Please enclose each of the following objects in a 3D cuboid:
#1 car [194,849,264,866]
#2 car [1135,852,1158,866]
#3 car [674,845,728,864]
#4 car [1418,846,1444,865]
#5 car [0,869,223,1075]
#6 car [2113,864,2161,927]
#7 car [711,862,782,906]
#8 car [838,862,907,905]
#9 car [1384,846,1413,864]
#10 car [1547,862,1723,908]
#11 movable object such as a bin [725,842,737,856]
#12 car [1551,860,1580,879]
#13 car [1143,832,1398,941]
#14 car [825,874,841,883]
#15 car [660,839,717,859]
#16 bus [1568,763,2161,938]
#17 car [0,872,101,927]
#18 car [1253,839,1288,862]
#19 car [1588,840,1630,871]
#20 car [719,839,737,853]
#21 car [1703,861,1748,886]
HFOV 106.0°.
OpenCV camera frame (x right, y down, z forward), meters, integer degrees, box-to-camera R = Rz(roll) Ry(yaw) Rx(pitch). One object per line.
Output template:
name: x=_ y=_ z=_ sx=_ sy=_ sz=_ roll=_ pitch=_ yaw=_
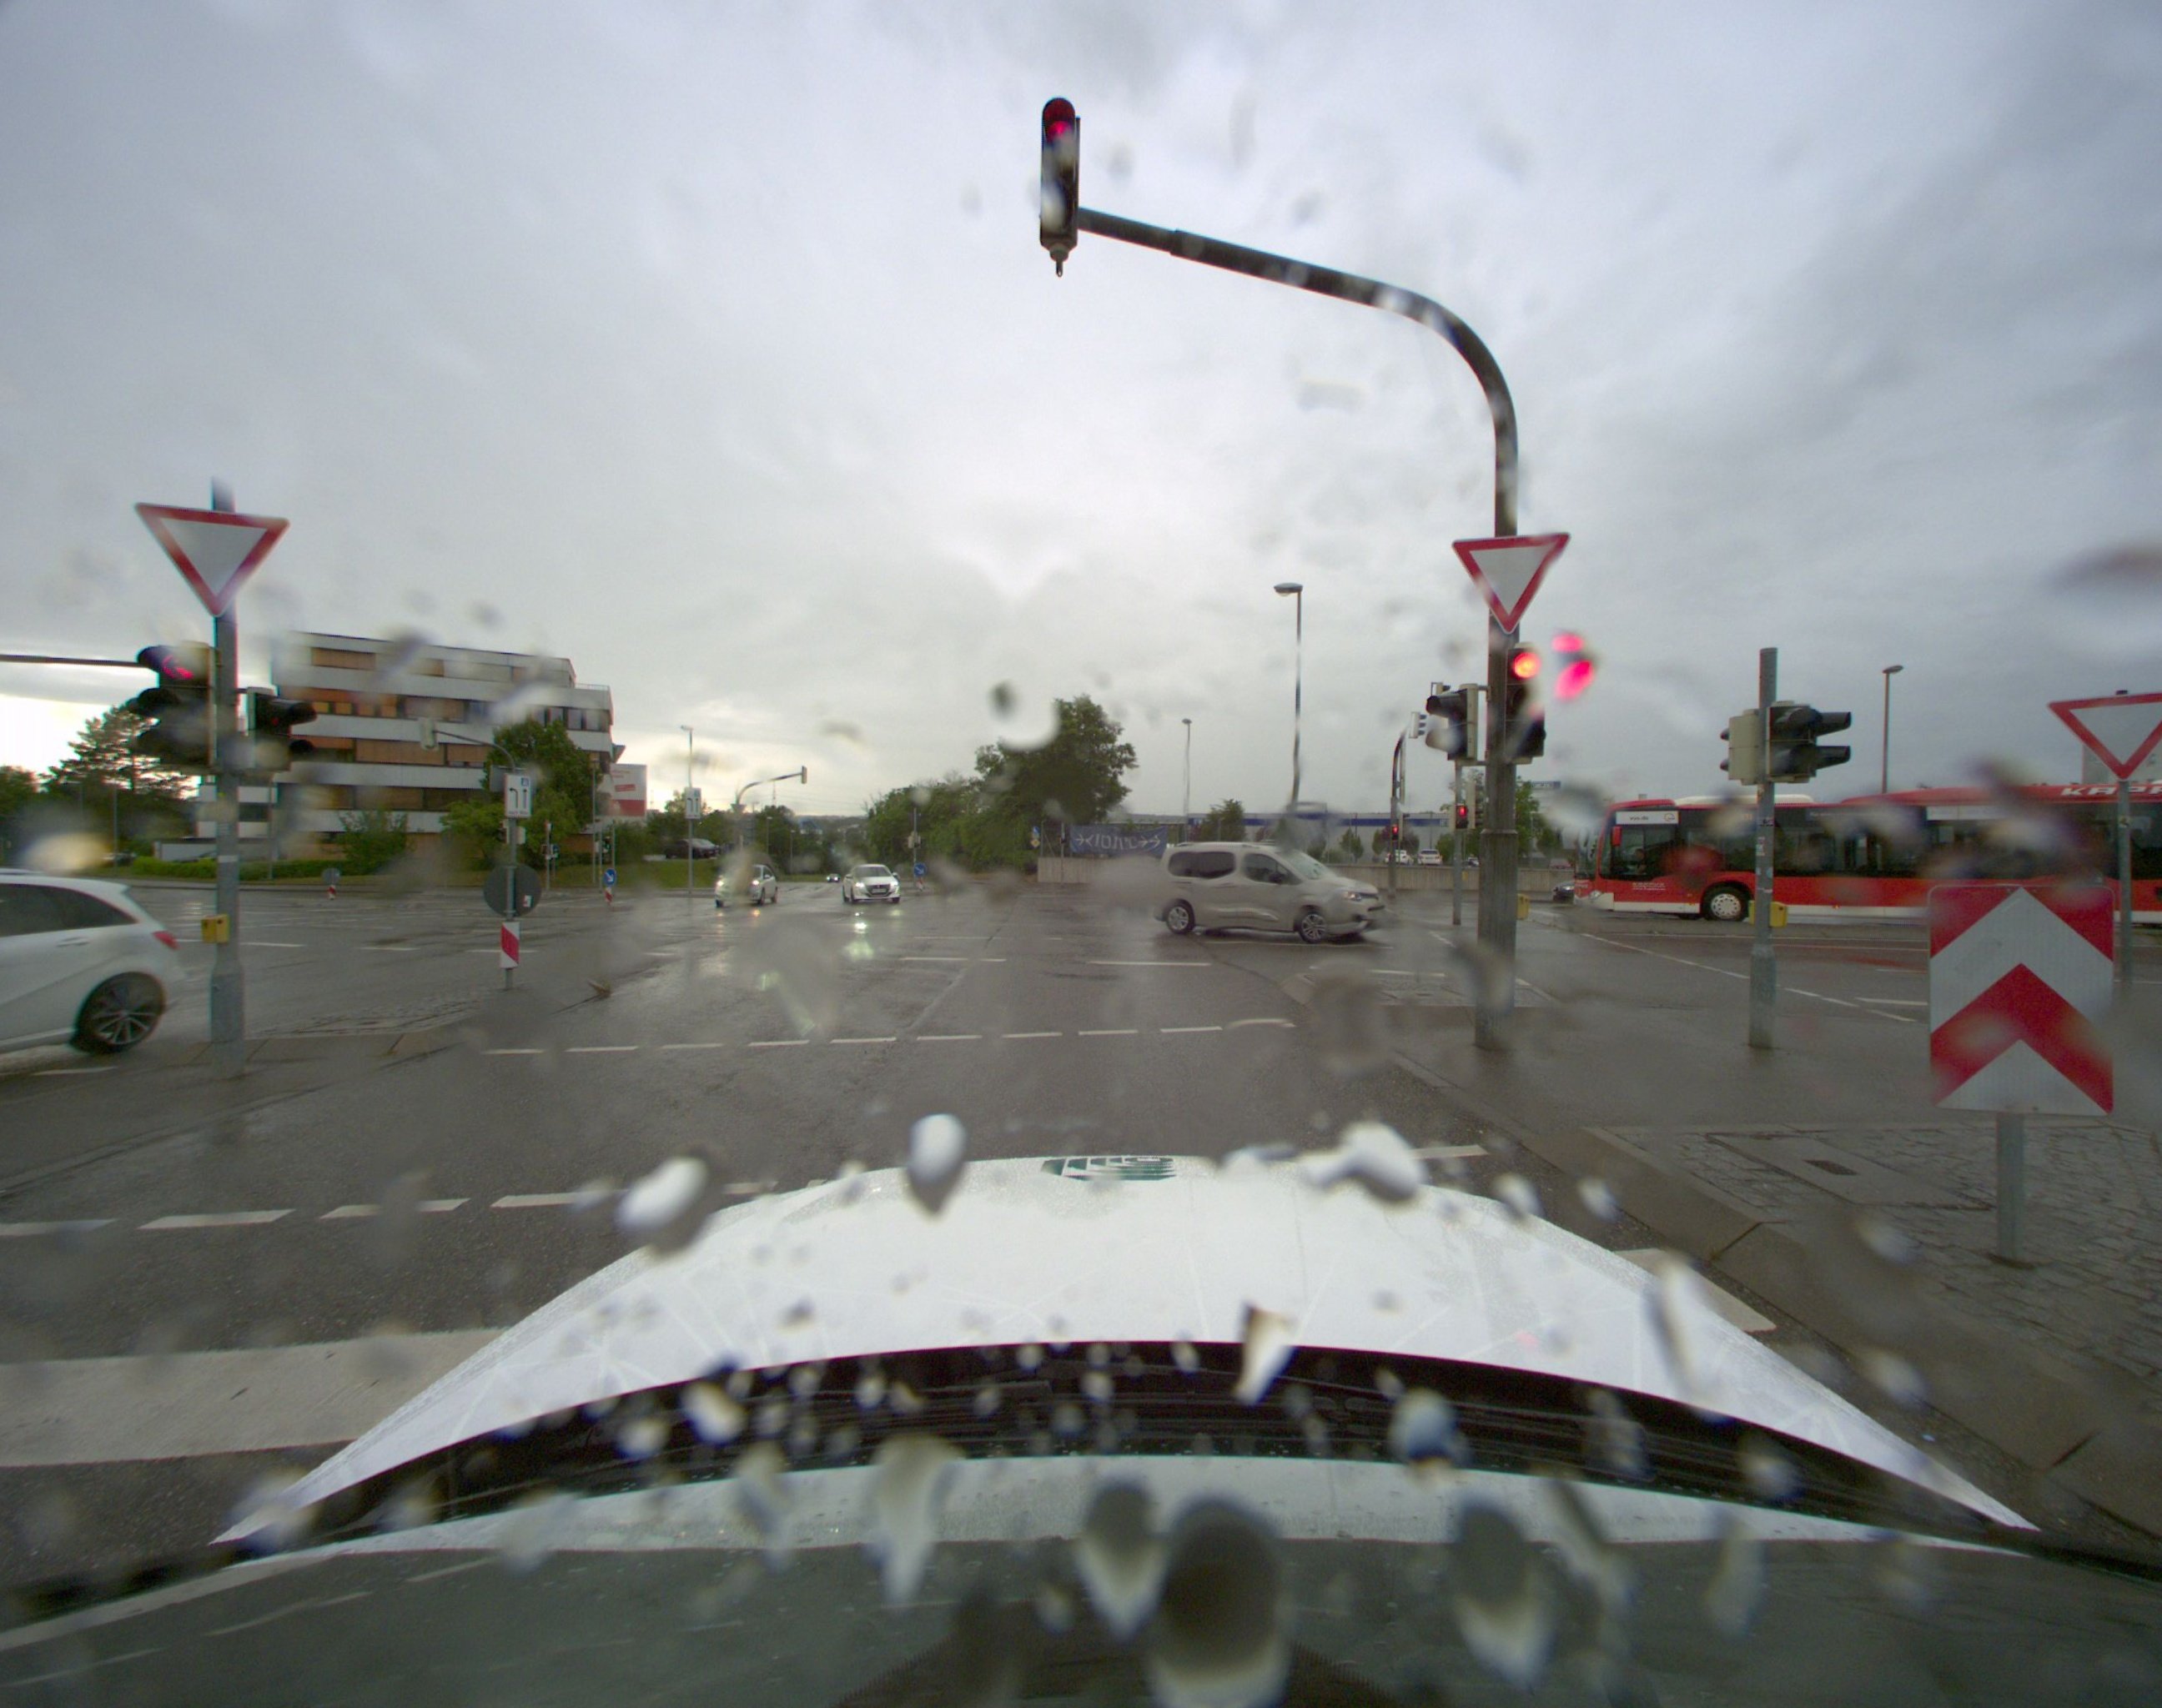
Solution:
car: x=-70.180 y=0.287 z=67.159 sx=3.779 sy=1.399 sz=1.977 roll=0 pitch=0 yaw=-40
car: x=7.766 y=0.580 z=95.899 sx=1.651 sy=1.606 sz=3.550 roll=-1 pitch=-1 yaw=23
car: x=-33.677 y=0.059 z=72.274 sx=3.958 sy=1.586 sz=1.909 roll=0 pitch=-2 yaw=14
car: x=28.902 y=0.130 z=67.194 sx=1.841 sy=1.526 sz=4.127 roll=-1 pitch=-1 yaw=25
car: x=-8.810 y=0.913 z=5.539 sx=1.663 sy=1.505 sz=4.312 roll=-2 pitch=0 yaw=-7
car: x=28.162 y=0.997 z=19.193 sx=4.316 sy=1.507 sz=2.013 roll=0 pitch=0 yaw=32
car: x=-12.831 y=1.115 z=31.444 sx=1.619 sy=1.505 sz=3.811 roll=-2 pitch=0 yaw=-8
car: x=-8.017 y=1.076 z=31.089 sx=1.874 sy=1.508 sz=3.948 roll=0 pitch=-1 yaw=-25
car: x=26.474 y=0.108 z=67.884 sx=1.800 sy=1.434 sz=4.128 roll=-1 pitch=-1 yaw=28
car: x=17.640 y=0.955 z=26.155 sx=4.344 sy=1.354 sz=1.834 roll=0 pitch=0 yaw=18
movable object such as a bin: x=-37.760 y=-0.520 z=87.880 sx=1.089 sy=1.437 sz=1.434 roll=1 pitch=-3 yaw=-25
car: x=43.151 y=1.341 z=72.594 sx=1.905 sy=1.589 sz=3.811 roll=0 pitch=0 yaw=25
car: x=3.619 y=0.574 z=15.944 sx=4.426 sy=1.844 sz=2.013 roll=-1 pitch=-1 yaw=38
car: x=-40.597 y=4.009 z=133.246 sx=1.658 sy=1.494 sz=3.992 roll=0 pitch=-1 yaw=-5
car: x=-33.426 y=-0.430 z=69.345 sx=3.962 sy=1.586 sz=1.907 roll=0 pitch=-2 yaw=10
bus: x=18.838 y=-0.169 z=19.266 sx=12.152 sy=3.576 sz=3.001 roll=2 pitch=0 yaw=19
car: x=-28.724 y=1.173 z=21.796 sx=4.479 sy=1.363 sz=1.771 roll=-1 pitch=-1 yaw=20
car: x=13.354 y=-0.244 z=57.283 sx=1.727 sy=1.553 sz=3.550 roll=-1 pitch=-1 yaw=23
car: x=35.386 y=0.123 z=54.641 sx=1.727 sy=2.014 sz=3.844 roll=-1 pitch=-1 yaw=23
car: x=-41.665 y=-0.939 z=96.011 sx=1.836 sy=1.442 sz=3.967 roll=1 pitch=-2 yaw=-25
car: x=53.012 y=1.566 z=67.080 sx=1.976 sy=2.014 sz=4.022 roll=-1 pitch=-1 yaw=24
